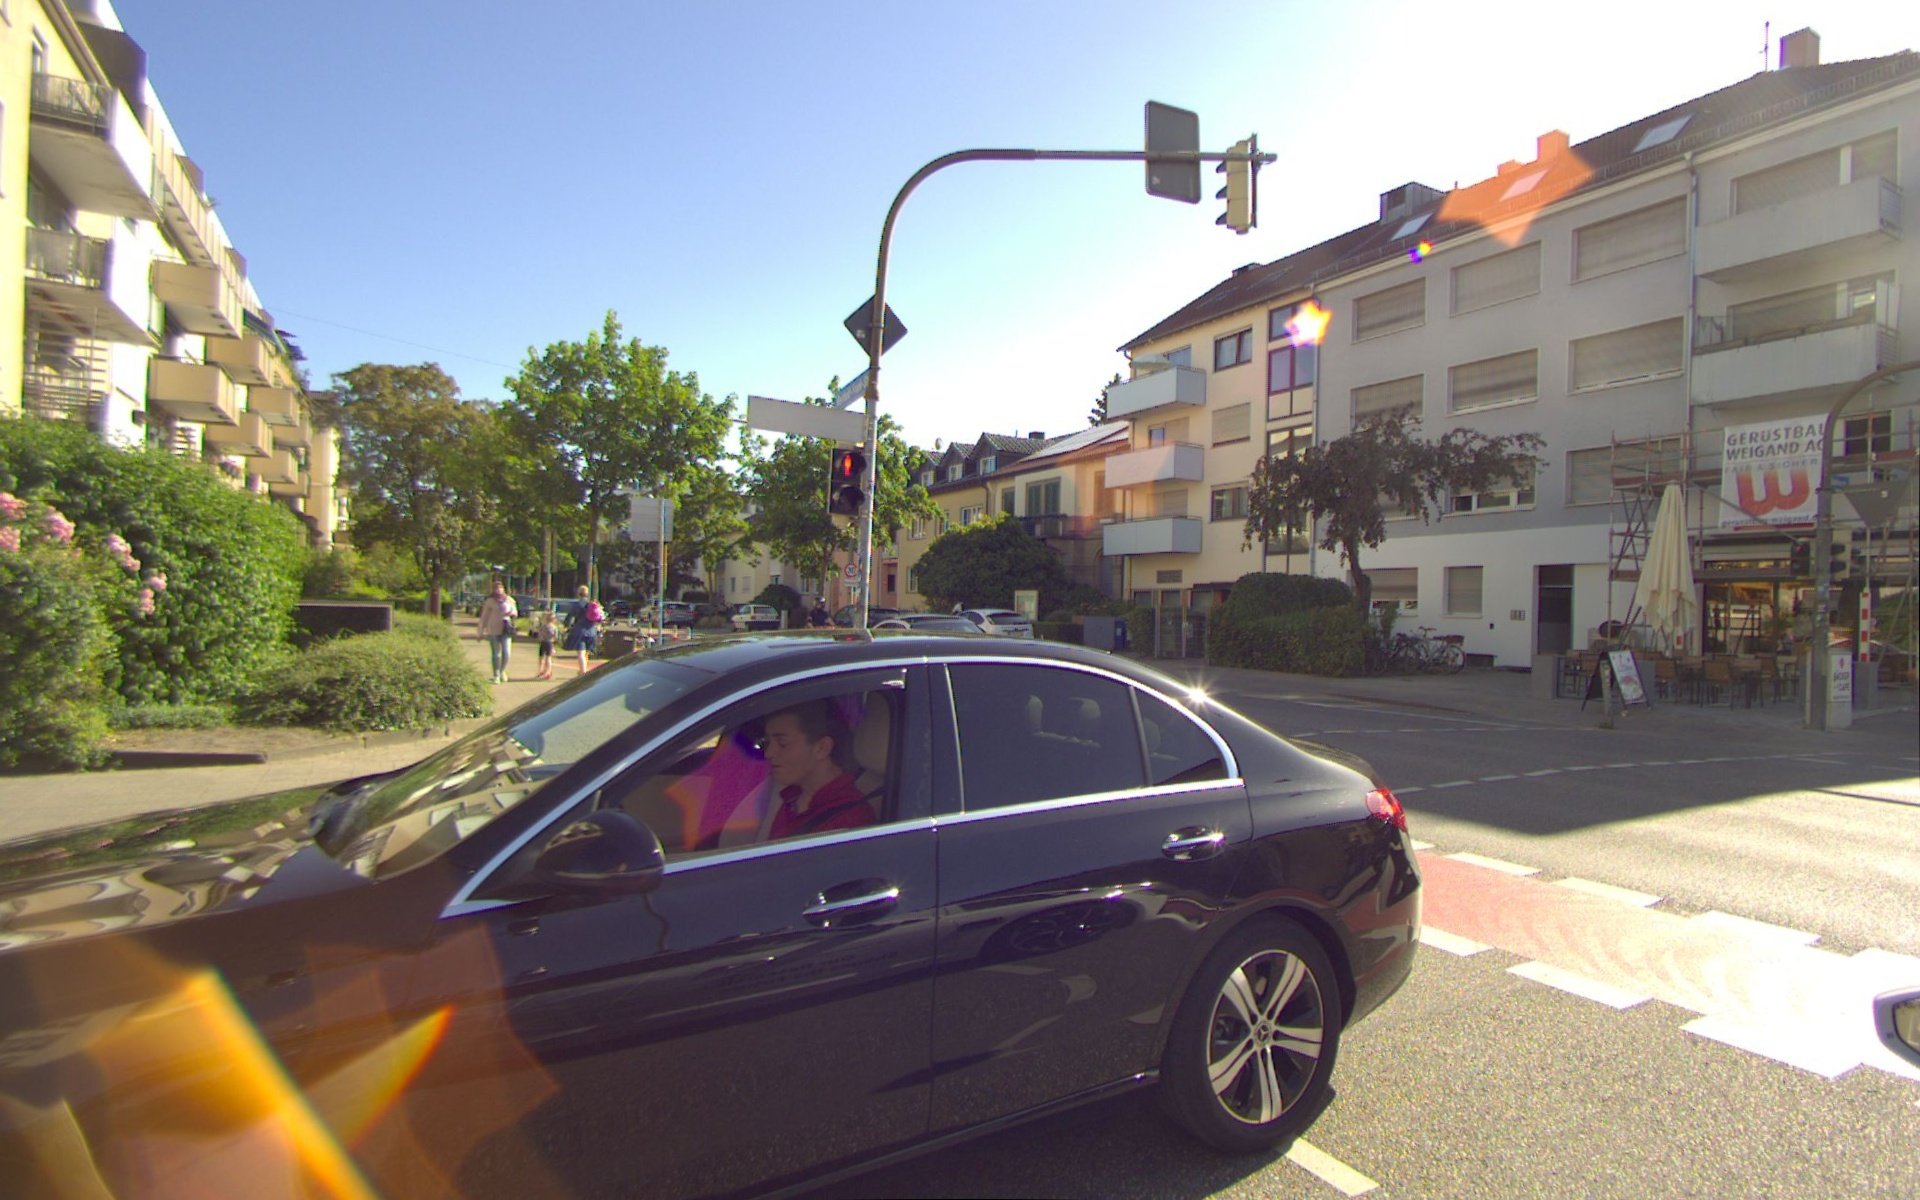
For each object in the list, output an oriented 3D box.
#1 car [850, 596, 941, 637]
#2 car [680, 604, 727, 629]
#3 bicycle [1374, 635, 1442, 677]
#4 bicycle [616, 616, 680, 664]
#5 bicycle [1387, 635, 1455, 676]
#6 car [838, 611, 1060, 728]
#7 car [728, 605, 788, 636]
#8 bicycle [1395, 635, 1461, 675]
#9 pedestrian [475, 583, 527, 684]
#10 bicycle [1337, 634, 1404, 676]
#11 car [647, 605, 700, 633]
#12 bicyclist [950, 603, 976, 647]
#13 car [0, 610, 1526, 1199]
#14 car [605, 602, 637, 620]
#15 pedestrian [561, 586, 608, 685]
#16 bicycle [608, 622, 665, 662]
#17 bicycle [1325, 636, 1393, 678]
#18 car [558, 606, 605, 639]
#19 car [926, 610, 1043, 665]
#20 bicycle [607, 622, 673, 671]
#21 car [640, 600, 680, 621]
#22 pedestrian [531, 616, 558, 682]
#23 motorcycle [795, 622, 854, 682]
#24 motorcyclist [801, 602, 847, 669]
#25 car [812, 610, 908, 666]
[{"bbox_3d":[-2.469,0.586,37.739,1.893,1.449,3.969,-1,1,-29],"label":"car"},{"bbox_3d":[-15.978,0.996,62.411,1.893,1.449,3.969,-1,1,-29],"label":"car"},{"bbox_3d":[11.061,1.378,24.843,0.506,0.952,1.583,1,-1,-26],"label":"bicycle"},{"bbox_3d":[-8.357,1.066,26.954,1.550,1.177,0.447,1,14,-7],"label":"bicycle"},{"bbox_3d":[11.616,1.386,25.344,0.506,0.952,1.583,1,-1,-26],"label":"bicycle"},{"bbox_3d":[-0.334,0.994,16.253,1.909,1.455,4.238,-2,2,-27],"label":"car"},{"bbox_3d":[-10.411,1.004,51.512,1.893,1.449,3.969,-1,1,-29],"label":"car"},{"bbox_3d":[12.069,1.405,25.955,0.506,0.952,1.583,1,-1,-26],"label":"bicycle"},{"bbox_3d":[-7.541,0.548,16.495,0.688,1.617,0.642,1,0,-31],"label":"pedestrian"},{"bbox_3d":[10.149,1.349,24.862,0.506,0.952,1.583,1,-1,-26],"label":"bicycle"},{"bbox_3d":[-15.979,1.024,55.898,1.822,1.453,4.142,2,-1,-30],"label":"car"},{"bbox_3d":[0.111,0.905,36.317,0.548,1.569,0.808,2,0,-30],"label":"bicyclist"},{"bbox_3d":[-0.489,0.793,2.964,4.373,1.431,1.797,2,-2,-30],"label":"car"},{"bbox_3d":[-28.955,0.922,85.818,1.893,1.449,3.969,-1,1,-29],"label":"car"},{"bbox_3d":[-6.714,0.622,17.952,0.568,1.705,0.960,1,0,-32],"label":"pedestrian"},{"bbox_3d":[-9.915,1.295,30.862,1.550,1.175,0.448,1,-8,-7],"label":"bicycle"},{"bbox_3d":[9.646,1.364,24.318,0.506,0.952,1.583,1,-1,-26],"label":"bicycle"},{"bbox_3d":[-19.464,1.133,51.561,1.792,1.579,4.219,-1,1,-27],"label":"car"},{"bbox_3d":[0.685,1.109,31.126,1.893,1.539,3.969,0,0,-29],"label":"car"},{"bbox_3d":[-8.394,1.217,26.385,1.550,1.177,0.447,1,14,-7],"label":"bicycle"},{"bbox_3d":[-21.615,0.738,72.247,1.893,1.449,3.969,-1,1,-29],"label":"car"},{"bbox_3d":[-7.477,0.875,18.074,0.382,1.161,0.528,1,0,-26],"label":"pedestrian"},{"bbox_3d":[-2.848,1.066,20.982,0.739,1.149,1.672,-1,0,-26],"label":"motorcycle"},{"bbox_3d":[-2.842,0.724,20.951,0.747,1.374,0.787,-1,0,-26],"label":"motorcyclist"},{"bbox_3d":[-3.173,1.140,31.088,1.577,1.586,4.061,2,-2,-27],"label":"car"}]
